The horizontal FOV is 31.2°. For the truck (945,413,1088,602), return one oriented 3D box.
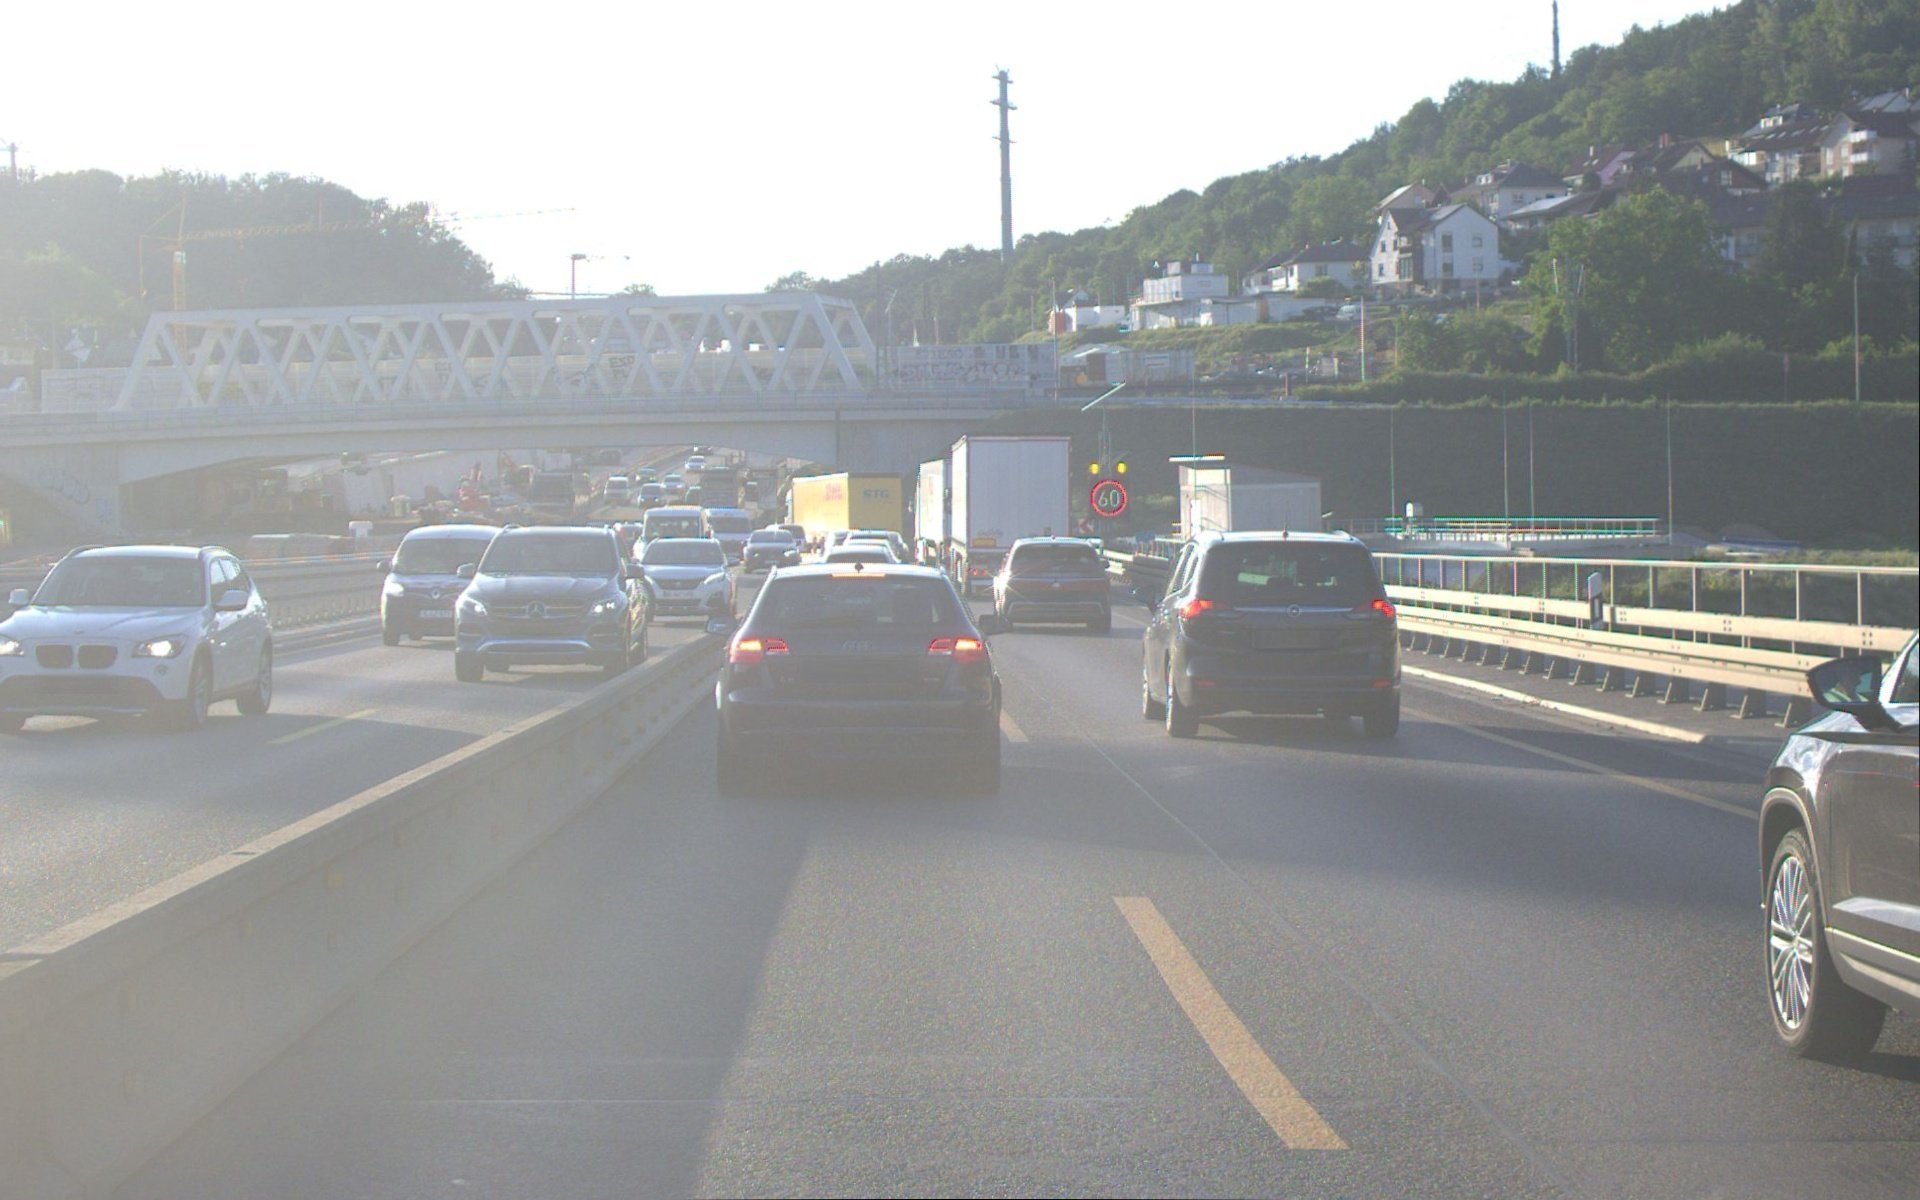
[{"bbox_3d":[1.365,-2.388,89.770,3.385,4.483,15.268,0,1,0],"label":"truck"}]

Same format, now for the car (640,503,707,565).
[{"bbox_3d":[-8.768,-2.033,105.468,1.929,1.856,4.144,0,1,-3],"label":"car"}]

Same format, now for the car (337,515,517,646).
[{"bbox_3d":[-8.125,-0.327,52.724,1.993,1.850,4.282,2,1,0],"label":"car"}]

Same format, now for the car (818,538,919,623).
[{"bbox_3d":[-1.735,-0.382,64.111,1.765,1.481,4.001,1,1,-3],"label":"car"}]

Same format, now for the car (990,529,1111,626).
[{"bbox_3d":[1.508,-0.406,58.669,1.770,1.547,4.001,1,1,-2],"label":"car"}]

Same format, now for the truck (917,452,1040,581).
[{"bbox_3d":[0.543,-3.103,128.732,3.890,4.483,15.269,0,1,-2],"label":"truck"}]

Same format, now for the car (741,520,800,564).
[{"bbox_3d":[-6.689,-2.055,121.207,1.993,1.525,5.783,0,1,-4],"label":"car"}]

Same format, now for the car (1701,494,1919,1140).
[{"bbox_3d":[3.311,0.534,8.179,1.875,1.594,4.966,0,1,-2],"label":"car"}]

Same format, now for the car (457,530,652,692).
[{"bbox_3d":[-4.632,0.074,39.836,1.929,1.748,4.673,0,1,-3],"label":"car"}]

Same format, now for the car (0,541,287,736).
[{"bbox_3d":[-7.179,0.271,29.702,1.929,1.541,4.289,0,1,-1],"label":"car"}]

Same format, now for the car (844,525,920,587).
[{"bbox_3d":[-1.953,-1.137,86.741,1.765,1.481,4.000,1,1,0],"label":"car"}]

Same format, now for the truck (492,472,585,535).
[{"bbox_3d":[-26.648,-6.099,216.764,2.930,3.877,10.266,-1,2,-24],"label":"truck"}]

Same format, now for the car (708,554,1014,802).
[{"bbox_3d":[-0.658,0.428,21.982,1.770,1.385,4.001,0,1,-2],"label":"car"}]

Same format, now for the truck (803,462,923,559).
[{"bbox_3d":[-4.791,-4.413,165.935,3.889,4.482,13.853,0,2,-10],"label":"truck"}]

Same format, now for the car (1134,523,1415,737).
[{"bbox_3d":[2.516,0.179,28.482,1.814,1.626,4.412,0,1,-1],"label":"car"}]

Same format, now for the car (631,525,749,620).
[{"bbox_3d":[-4.957,-0.529,63.634,1.838,1.634,4.000,-2,1,0],"label":"car"}]

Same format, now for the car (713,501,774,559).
[{"bbox_3d":[-9.360,-3.031,148.344,2.073,2.449,6.268,0,1,-9],"label":"car"}]

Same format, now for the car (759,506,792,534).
[{"bbox_3d":[-10.482,-4.554,195.506,1.792,1.534,4.368,0,1,-4],"label":"car"}]
